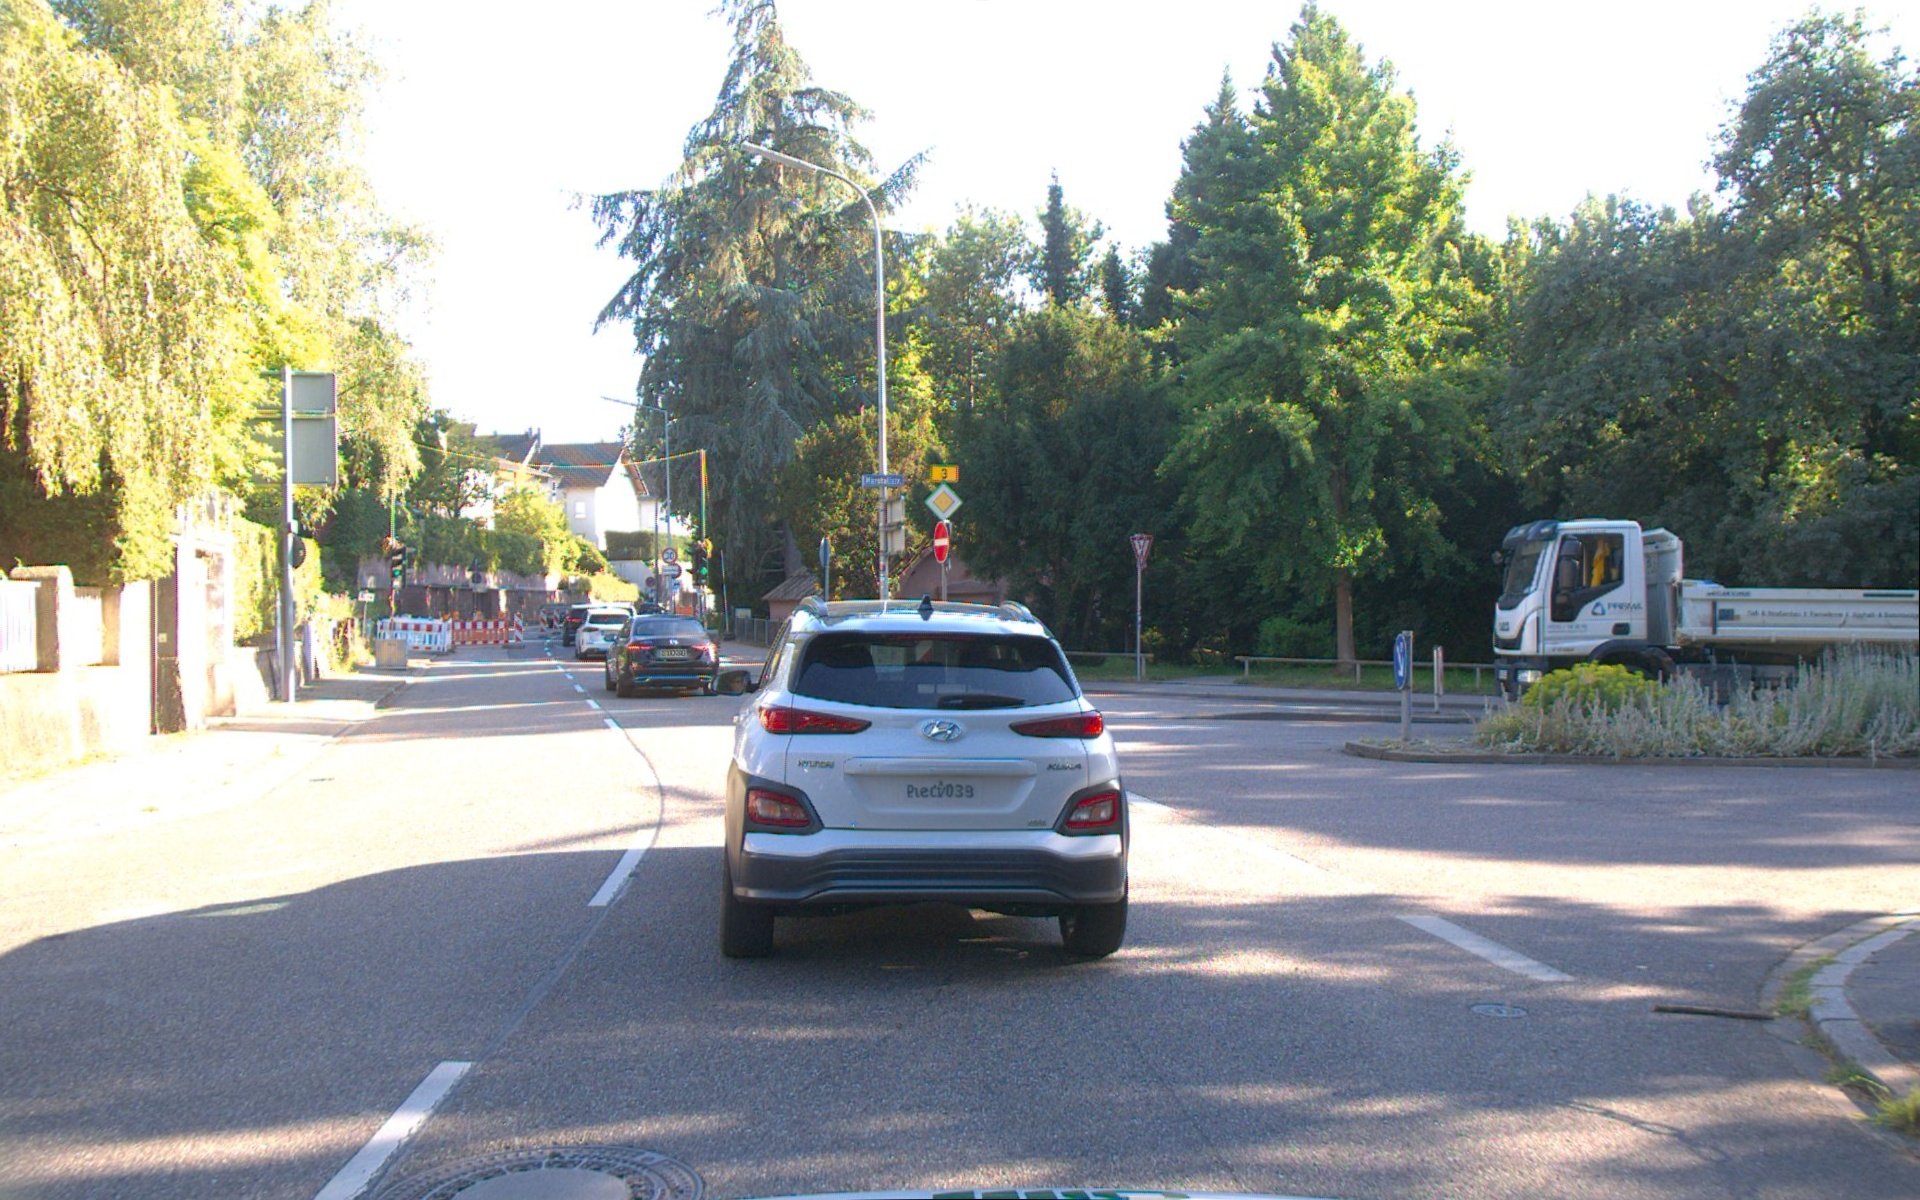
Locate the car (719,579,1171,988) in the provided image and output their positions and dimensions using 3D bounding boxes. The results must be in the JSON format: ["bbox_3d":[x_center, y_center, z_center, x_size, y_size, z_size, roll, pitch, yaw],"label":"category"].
[{"bbox_3d":[-0.266,0.741,8.584,1.785,1.601,3.994,1,0,-7],"label":"car"}]

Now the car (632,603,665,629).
[{"bbox_3d":[-21.142,1.079,112.368,1.795,1.691,3.996,1,0,-4],"label":"car"}]

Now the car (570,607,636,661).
[{"bbox_3d":[-11.133,1.034,51.461,1.776,1.564,3.984,1,0,-15],"label":"car"}]

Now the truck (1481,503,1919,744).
[{"bbox_3d":[10.487,0.297,21.968,6.447,2.945,2.435,1,0,7],"label":"truck"}]

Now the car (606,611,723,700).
[{"bbox_3d":[-5.516,0.974,30.506,1.680,1.459,4.346,1,0,-16],"label":"car"}]

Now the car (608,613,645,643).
[{"bbox_3d":[-19.759,1.658,98.155,1.797,1.691,3.993,1,0,-7],"label":"car"}]

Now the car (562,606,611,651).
[{"bbox_3d":[-14.964,1.105,66.222,1.800,1.691,3.986,1,0,-13],"label":"car"}]
